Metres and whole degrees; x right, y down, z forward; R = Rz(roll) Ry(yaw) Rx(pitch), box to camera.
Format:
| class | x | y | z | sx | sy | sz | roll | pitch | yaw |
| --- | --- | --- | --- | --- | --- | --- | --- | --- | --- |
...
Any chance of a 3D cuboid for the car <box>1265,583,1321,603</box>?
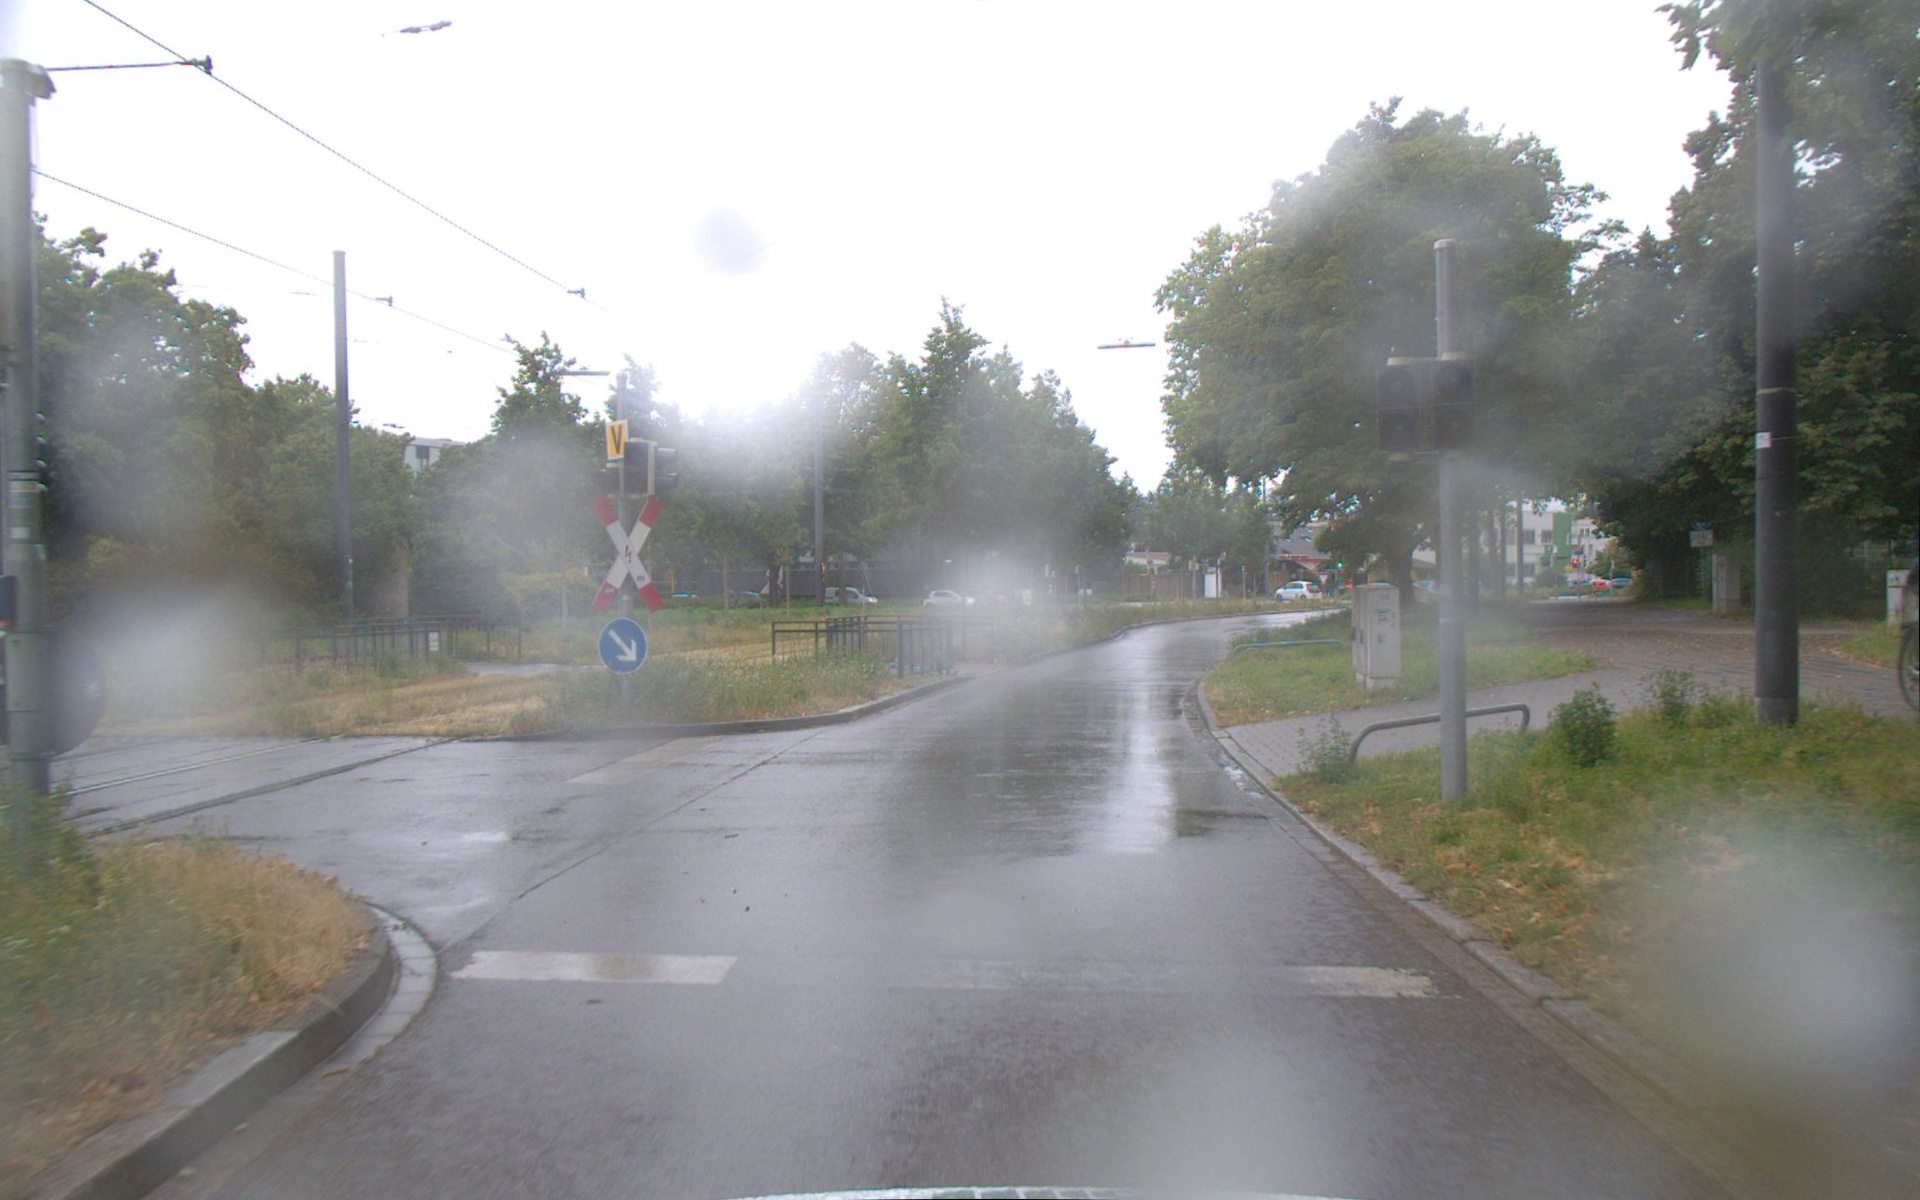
| class | x | y | z | sx | sy | sz | roll | pitch | yaw |
| --- | --- | --- | --- | --- | --- | --- | --- | --- | --- |
| car | 24.632 | -0.511 | 122.432 | 1.524 | 1.445 | 3.941 | -2 | 1 | -40 |

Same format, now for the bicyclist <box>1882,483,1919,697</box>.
| class | x | y | z | sx | sy | sz | roll | pitch | yaw |
| --- | --- | --- | --- | --- | --- | --- | --- | --- | --- |
| bicyclist | 8.207 | -0.090 | 13.609 | 0.696 | 1.751 | 0.957 | -1 | 1 | 1 |

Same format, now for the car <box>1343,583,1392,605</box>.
| class | x | y | z | sx | sy | sz | roll | pitch | yaw |
| --- | --- | --- | --- | --- | --- | --- | --- | --- | --- |
| car | 27.609 | -0.391 | 112.127 | 1.656 | 1.445 | 3.801 | -2 | 1 | -14 |

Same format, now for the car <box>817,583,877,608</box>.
| class | x | y | z | sx | sy | sz | roll | pitch | yaw |
| --- | --- | --- | --- | --- | --- | --- | --- | --- | --- |
| car | -8.461 | -0.336 | 124.144 | 4.120 | 1.827 | 1.653 | -1 | 1 | 15 |

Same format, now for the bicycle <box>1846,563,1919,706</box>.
| class | x | y | z | sx | sy | sz | roll | pitch | yaw |
| --- | --- | --- | --- | --- | --- | --- | --- | --- | --- |
| bicycle | 8.212 | 0.273 | 13.707 | 0.696 | 1.162 | 1.972 | -1 | 1 | 1 |

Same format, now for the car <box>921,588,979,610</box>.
| class | x | y | z | sx | sy | sz | roll | pitch | yaw |
| --- | --- | --- | --- | --- | --- | --- | --- | --- | --- |
| car | -0.725 | -0.069 | 121.589 | 3.979 | 1.525 | 1.653 | -1 | 0 | 15 |
